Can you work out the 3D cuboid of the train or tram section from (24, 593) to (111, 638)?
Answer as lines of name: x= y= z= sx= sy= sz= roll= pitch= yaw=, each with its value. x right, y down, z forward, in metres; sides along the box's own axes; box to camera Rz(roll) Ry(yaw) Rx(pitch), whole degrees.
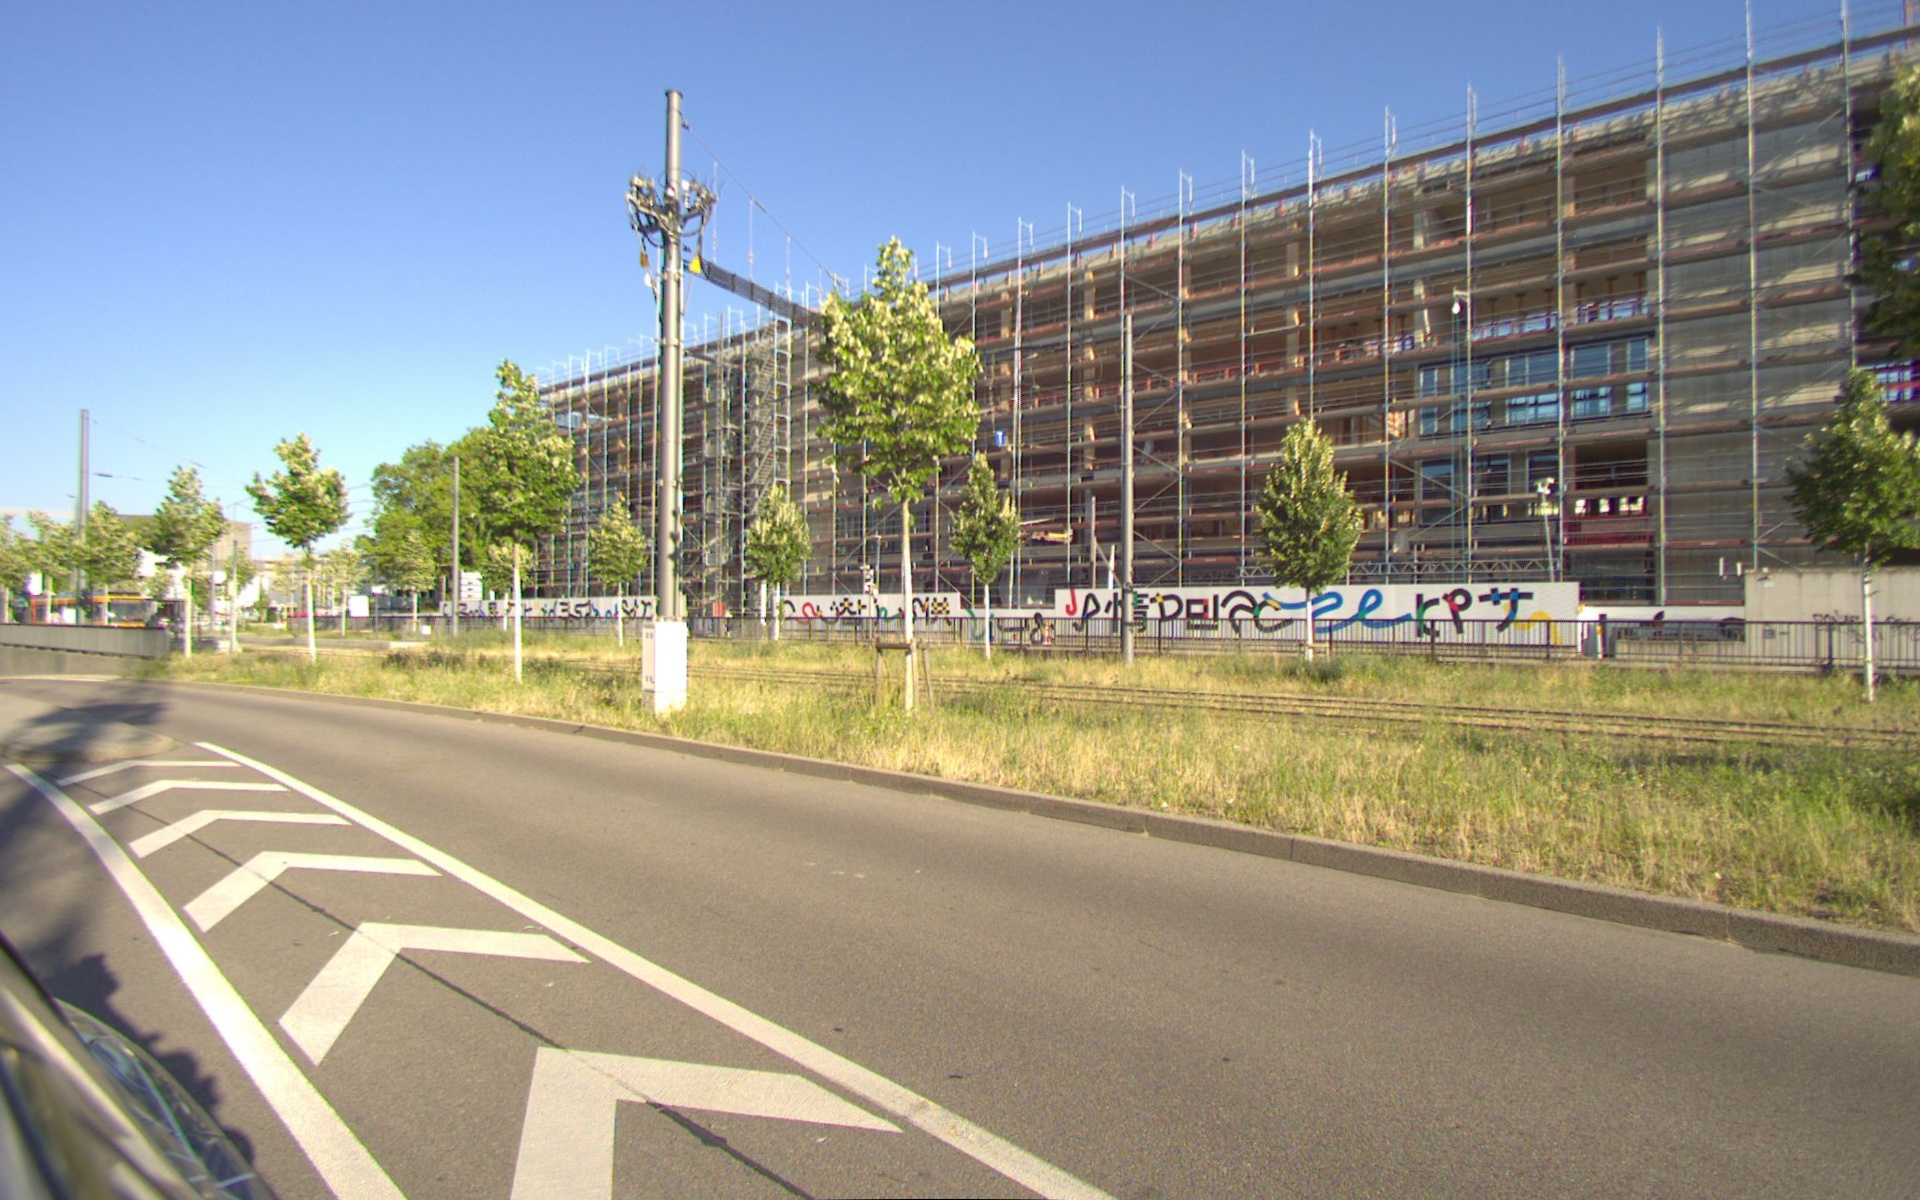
train or tram section: x=-73.428 y=1.263 z=83.053 sx=14.749 sy=3.423 sz=2.917 roll=-1 pitch=0 yaw=39

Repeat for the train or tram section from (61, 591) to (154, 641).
train or tram section: x=-62.793 y=1.124 z=74.388 sx=12.619 sy=3.423 sz=2.917 roll=-1 pitch=0 yaw=39
